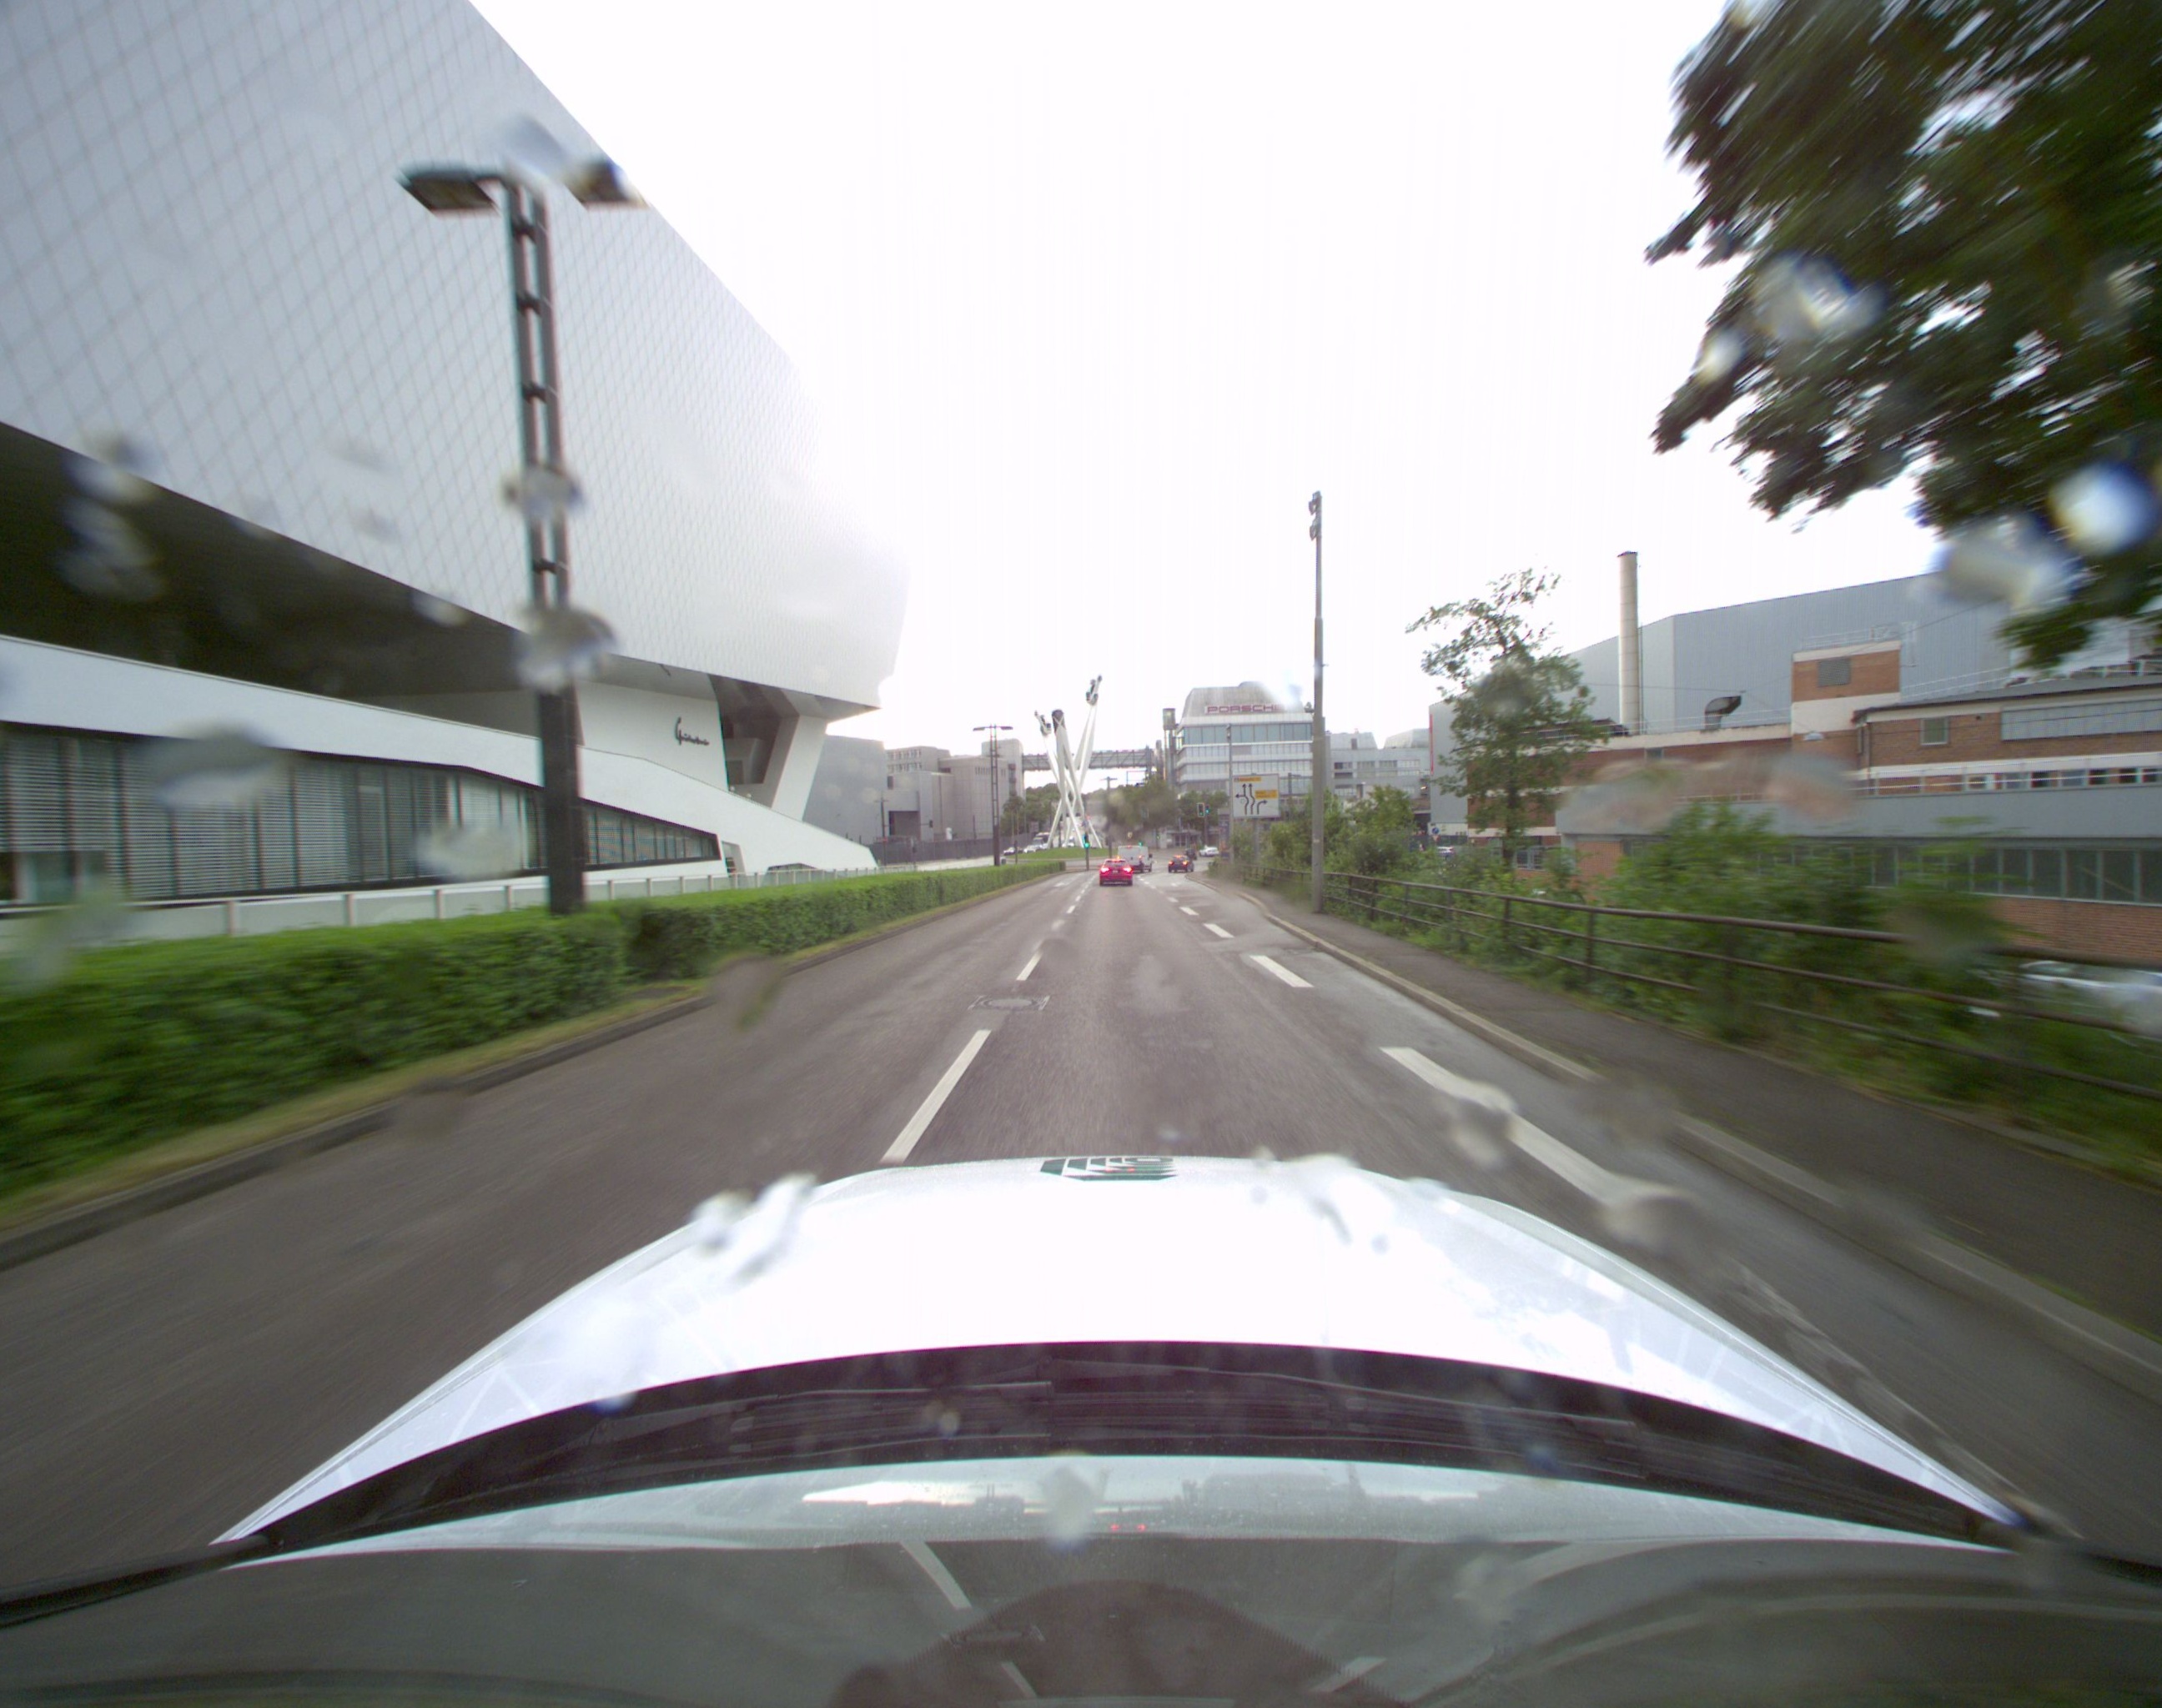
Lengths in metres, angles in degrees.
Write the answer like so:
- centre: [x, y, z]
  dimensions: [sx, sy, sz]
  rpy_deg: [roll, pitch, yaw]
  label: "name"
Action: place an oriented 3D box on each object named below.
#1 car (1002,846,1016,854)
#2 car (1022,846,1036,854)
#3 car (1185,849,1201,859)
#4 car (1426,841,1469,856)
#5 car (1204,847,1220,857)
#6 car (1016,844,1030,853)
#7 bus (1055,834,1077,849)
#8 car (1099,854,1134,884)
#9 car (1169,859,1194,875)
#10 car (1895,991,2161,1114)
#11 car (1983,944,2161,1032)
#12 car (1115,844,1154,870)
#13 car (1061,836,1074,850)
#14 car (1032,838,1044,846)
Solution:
- centre: [-12.552, -0.710, 141.984]
  dimensions: [1.825, 1.472, 4.518]
  rpy_deg: [-2, 1, 4]
  label: "car"
- centre: [-9.022, -0.776, 141.972]
  dimensions: [1.836, 1.338, 4.006]
  rpy_deg: [-2, 1, 5]
  label: "car"
- centre: [14.502, 0.029, 105.883]
  dimensions: [1.552, 1.288, 3.413]
  rpy_deg: [-2, 0, 0]
  label: "car"
- centre: [40.256, -0.633, 89.560]
  dimensions: [3.932, 1.601, 1.923]
  rpy_deg: [1, 2, 44]
  label: "car"
- centre: [18.100, -0.293, 112.337]
  dimensions: [1.661, 1.301, 3.887]
  rpy_deg: [-2, 0, 2]
  label: "car"
- centre: [-10.541, -0.989, 148.969]
  dimensions: [1.825, 1.472, 4.518]
  rpy_deg: [-2, 1, 4]
  label: "car"
- centre: [-3.405, -2.870, 185.510]
  dimensions: [2.653, 3.200, 12.703]
  rpy_deg: [-1, 1, 9]
  label: "bus"
- centre: [1.892, 0.783, 43.626]
  dimensions: [1.766, 1.464, 3.734]
  rpy_deg: [-2, 0, 2]
  label: "car"
- centre: [8.564, 1.071, 69.412]
  dimensions: [1.598, 1.291, 3.581]
  rpy_deg: [-2, 0, 15]
  label: "car"
- centre: [14.852, 2.997, 12.313]
  dimensions: [3.543, 1.306, 1.549]
  rpy_deg: [5, 0, -2]
  label: "car"
- centre: [23.903, 3.067, 18.789]
  dimensions: [1.697, 1.486, 3.846]
  rpy_deg: [-1, 1, -8]
  label: "car"
- centre: [4.564, 0.257, 68.354]
  dimensions: [2.216, 2.108, 4.975]
  rpy_deg: [-2, -1, 16]
  label: "car"
- centre: [-2.442, -2.024, 151.032]
  dimensions: [1.985, 2.447, 5.432]
  rpy_deg: [-2, 1, 4]
  label: "car"
- centre: [-8.529, -2.352, 161.865]
  dimensions: [1.825, 1.472, 4.518]
  rpy_deg: [-2, 1, 4]
  label: "car"
